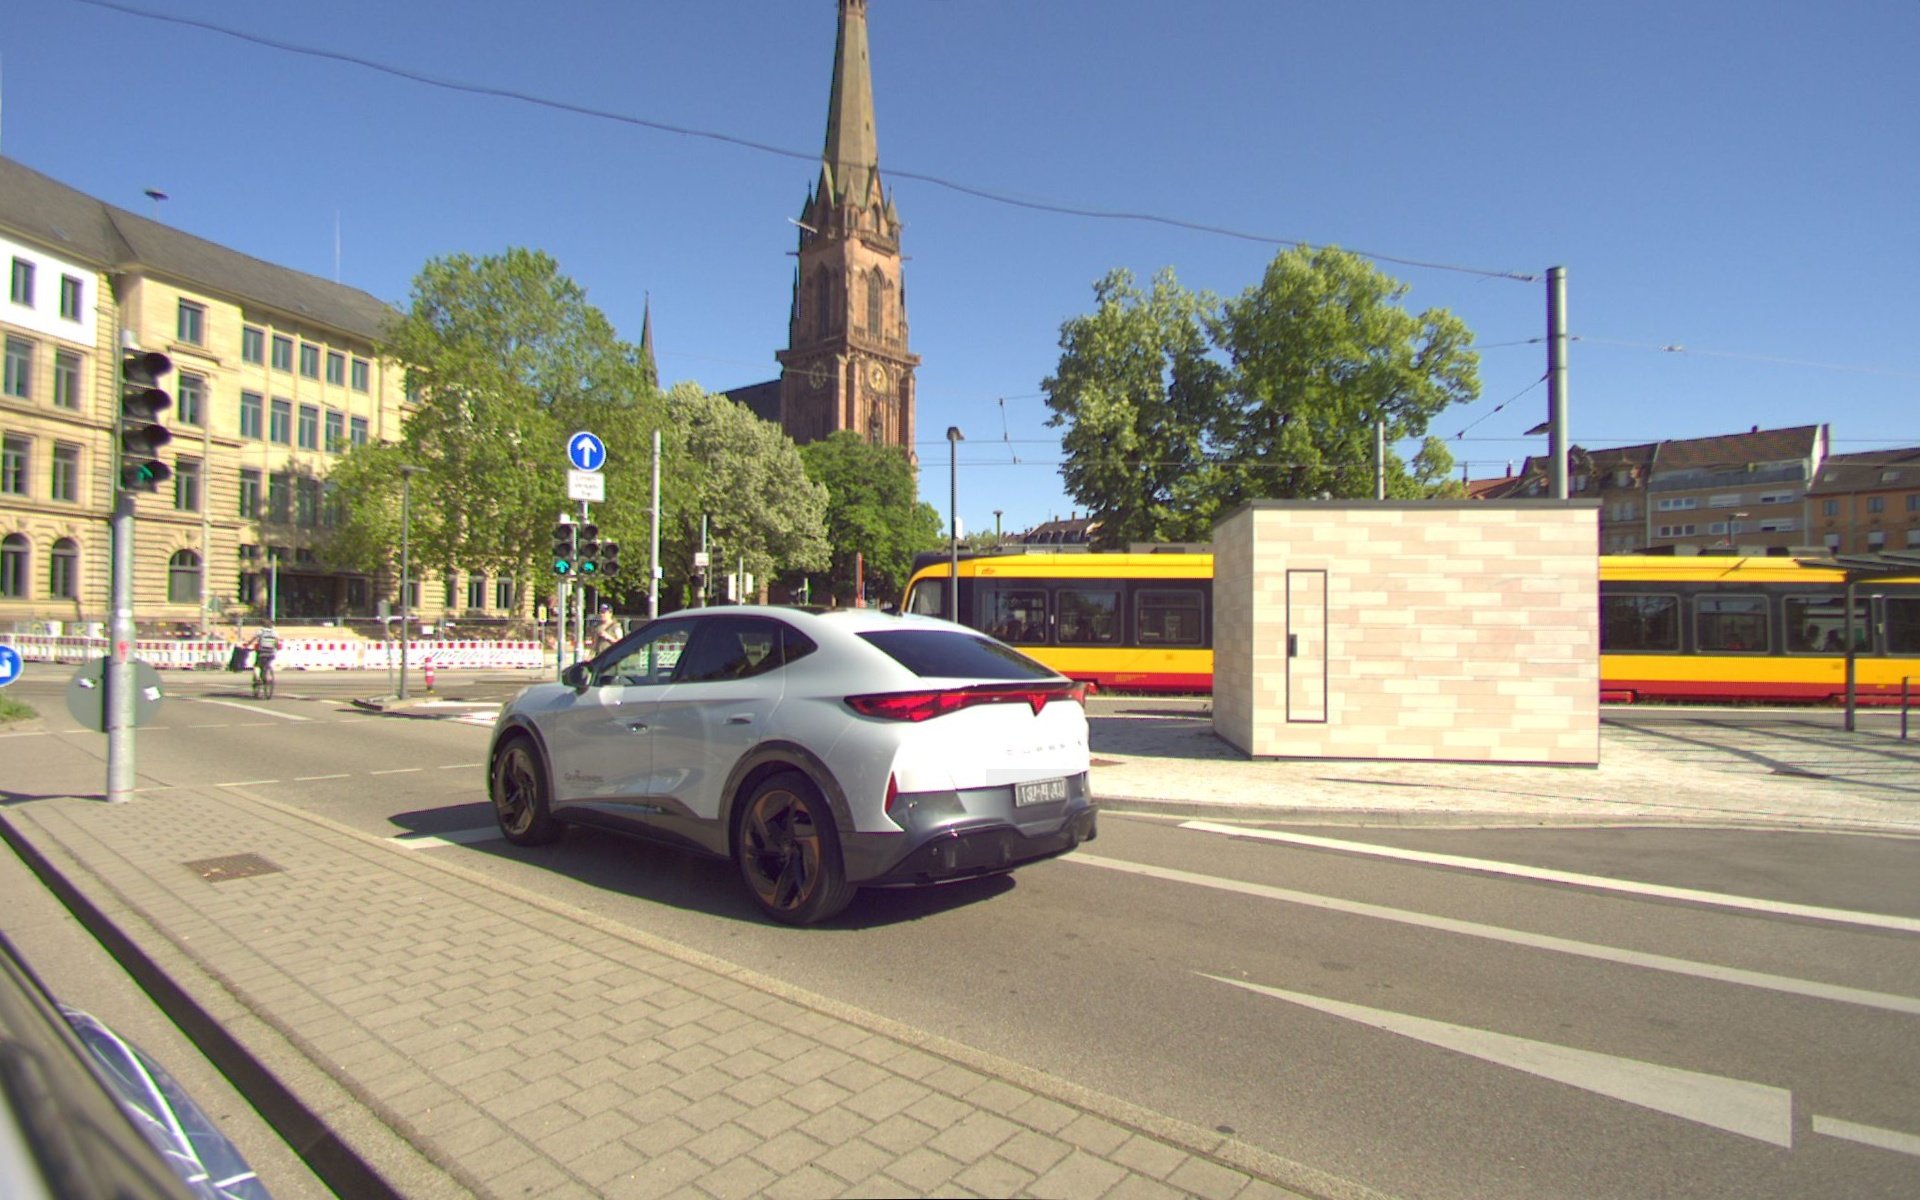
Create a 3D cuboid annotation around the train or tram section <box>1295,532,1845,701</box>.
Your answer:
[{"bbox_3d":[13.380,0.359,23.104,10.480,3.534,2.820,0,-1,6],"label":"train or tram section"}]

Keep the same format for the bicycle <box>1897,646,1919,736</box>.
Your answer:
[{"bbox_3d":[13.304,1.198,13.025,1.795,1.140,0.581,1,0,9],"label":"bicycle"}]

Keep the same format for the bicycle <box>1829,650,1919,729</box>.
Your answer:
[{"bbox_3d":[13.612,1.281,14.431,1.795,1.066,0.581,1,0,9],"label":"bicycle"}]

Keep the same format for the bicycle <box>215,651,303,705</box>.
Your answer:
[{"bbox_3d":[-15.128,1.658,21.826,2.028,1.089,0.767,0,-2,31],"label":"bicycle"}]

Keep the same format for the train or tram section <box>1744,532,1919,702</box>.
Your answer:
[{"bbox_3d":[23.971,0.364,21.961,11.072,3.534,2.820,0,-1,6],"label":"train or tram section"}]

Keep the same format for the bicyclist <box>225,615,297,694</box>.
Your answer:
[{"bbox_3d":[-15.075,1.165,21.833,1.056,1.657,0.873,0,-2,30],"label":"bicyclist"}]

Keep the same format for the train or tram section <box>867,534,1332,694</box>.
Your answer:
[{"bbox_3d":[3.126,0.343,24.139,10.346,3.535,2.822,0,-2,5],"label":"train or tram section"}]

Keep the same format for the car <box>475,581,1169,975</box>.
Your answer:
[{"bbox_3d":[-1.059,0.811,6.168,4.246,1.581,1.799,-2,-4,40],"label":"car"}]

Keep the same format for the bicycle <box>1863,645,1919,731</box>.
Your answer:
[{"bbox_3d":[13.473,1.204,13.717,1.795,1.129,0.581,1,0,9],"label":"bicycle"}]

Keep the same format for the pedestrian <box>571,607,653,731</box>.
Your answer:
[{"bbox_3d":[-5.409,1.052,15.754,0.760,1.864,0.894,-3,-2,26],"label":"pedestrian"}]
